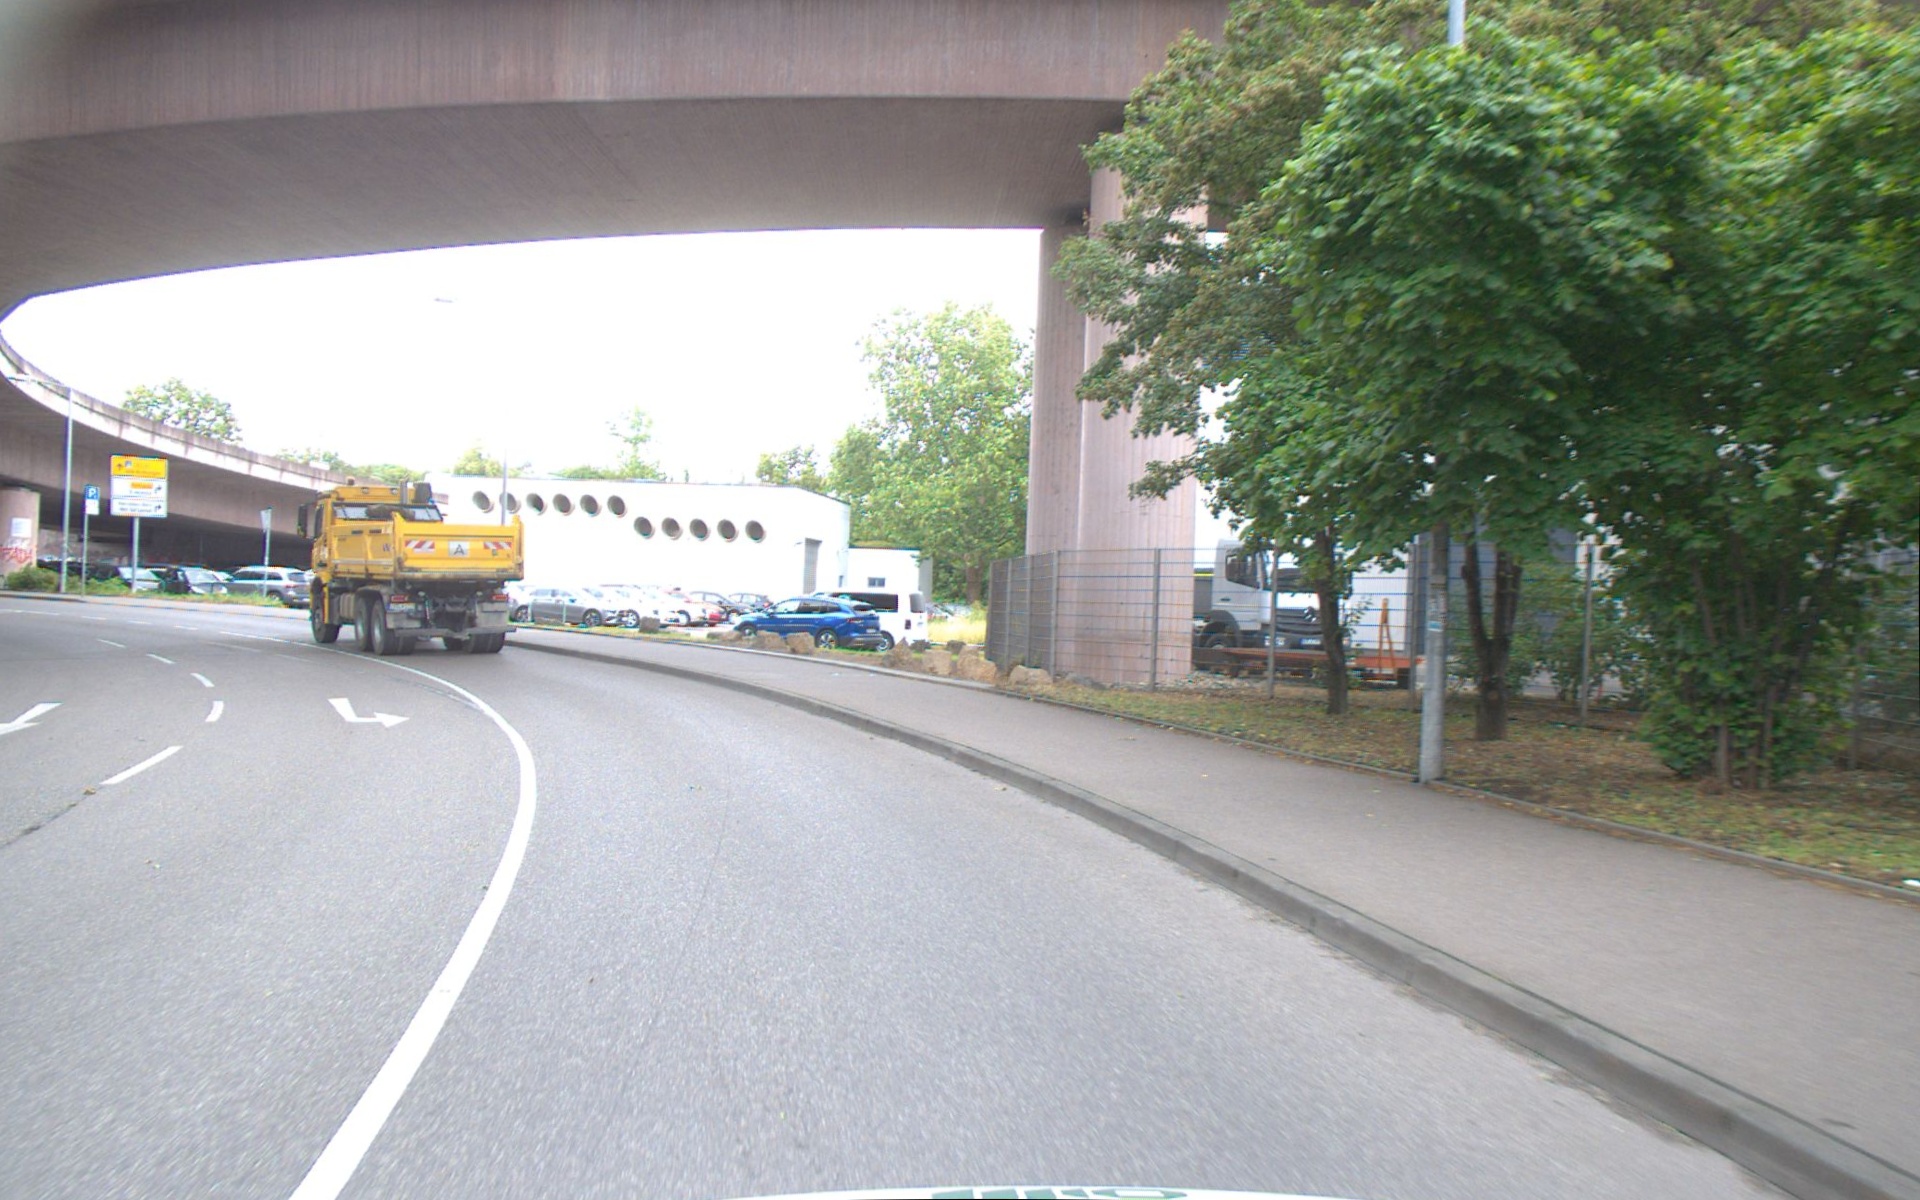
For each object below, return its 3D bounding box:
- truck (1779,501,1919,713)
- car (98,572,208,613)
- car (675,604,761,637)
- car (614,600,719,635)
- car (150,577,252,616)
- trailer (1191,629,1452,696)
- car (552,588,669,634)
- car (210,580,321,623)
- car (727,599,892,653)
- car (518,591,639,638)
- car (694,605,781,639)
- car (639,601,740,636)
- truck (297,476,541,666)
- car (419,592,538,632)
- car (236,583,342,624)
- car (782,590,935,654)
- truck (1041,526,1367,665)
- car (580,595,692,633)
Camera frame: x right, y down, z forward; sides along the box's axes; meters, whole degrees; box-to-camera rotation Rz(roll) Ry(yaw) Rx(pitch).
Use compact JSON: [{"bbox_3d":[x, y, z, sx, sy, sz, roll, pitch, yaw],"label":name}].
[{"bbox_3d":[18.771,0.103,32.126,2.990,3.682,7.922,1,0,10],"label":"truck"},{"bbox_3d":[-33.776,-0.303,69.218,3.787,1.662,1.778,0,-2,11],"label":"car"},{"bbox_3d":[-11.318,0.964,77.511,3.621,1.467,1.636,0,-2,11],"label":"car"},{"bbox_3d":[-12.469,0.744,70.383,3.902,1.431,2.001,0,-2,11],"label":"car"},{"bbox_3d":[-33.912,-0.150,73.963,3.787,1.662,1.778,0,-2,11],"label":"car"},{"bbox_3d":[5.523,0.928,26.355,2.108,0.756,6.284,-2,0,-7],"label":"trailer"},{"bbox_3d":[-13.312,0.438,63.113,3.902,1.669,2.001,0,-2,9],"label":"car"},{"bbox_3d":[-28.489,0.067,67.860,3.787,1.662,1.778,0,-2,10],"label":"car"},{"bbox_3d":[-4.335,0.768,47.585,4.359,1.467,1.997,-1,-2,29],"label":"car"},{"bbox_3d":[-13.916,0.528,60.411,3.902,1.669,1.691,0,-2,10],"label":"car"},{"bbox_3d":[-11.095,1.070,82.507,3.902,1.573,1.857,1,1,12],"label":"car"},{"bbox_3d":[-11.878,0.806,72.783,3.902,1.467,2.001,0,-2,11],"label":"car"},{"bbox_3d":[-11.674,-0.658,35.122,2.900,3.542,8.150,-1,2,-33],"label":"truck"},{"bbox_3d":[-18.642,0.463,64.100,3.902,1.467,2.001,0,-2,11],"label":"car"},{"bbox_3d":[-28.544,0.147,70.365,3.787,1.662,1.778,0,-2,11],"label":"car"},{"bbox_3d":[-3.080,0.693,50.373,4.225,1.890,2.000,0,-2,21],"label":"car"},{"bbox_3d":[4.888,-0.036,34.565,2.691,2.596,7.147,2,-1,-33],"label":"truck"},{"bbox_3d":[-12.918,0.576,66.015,3.902,1.467,2.001,0,-2,11],"label":"car"}]
